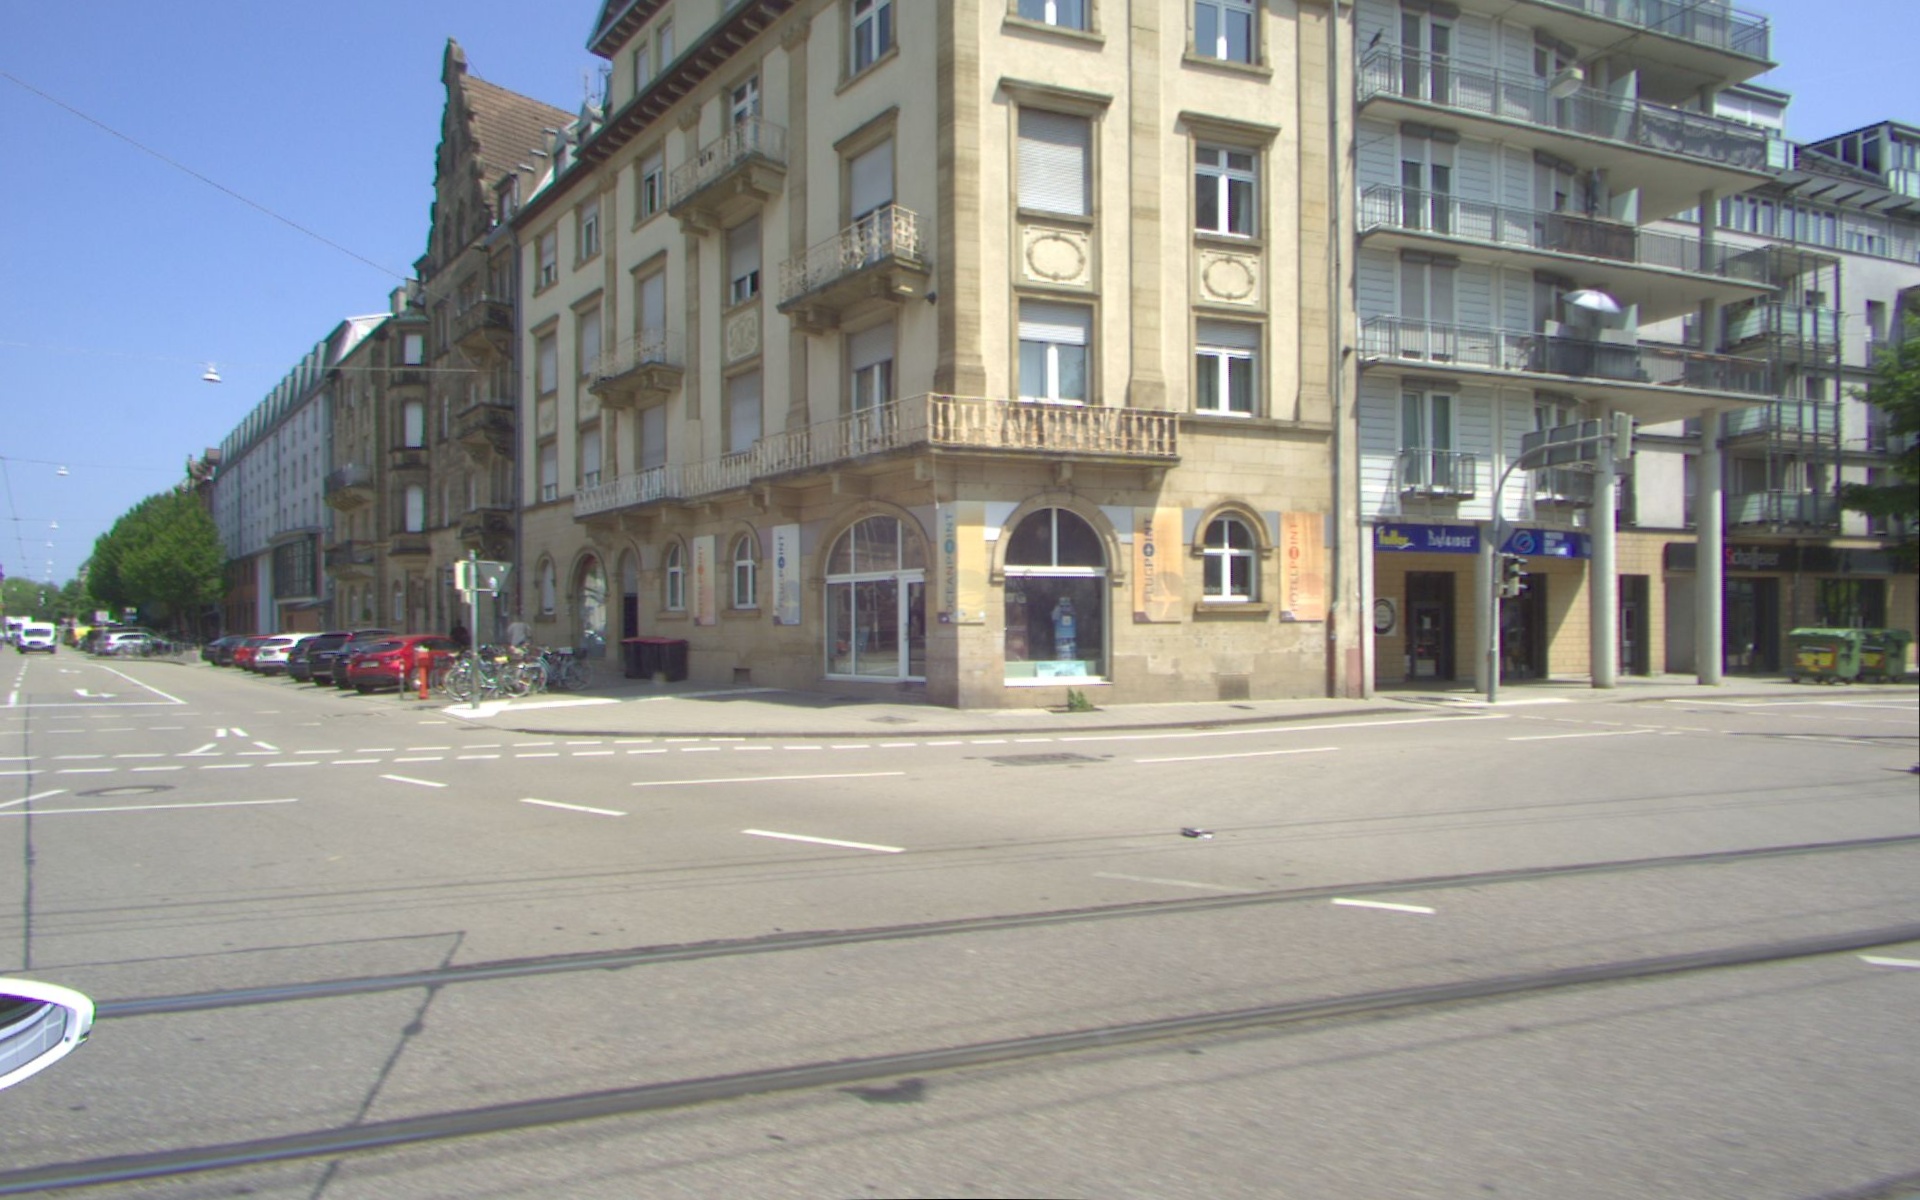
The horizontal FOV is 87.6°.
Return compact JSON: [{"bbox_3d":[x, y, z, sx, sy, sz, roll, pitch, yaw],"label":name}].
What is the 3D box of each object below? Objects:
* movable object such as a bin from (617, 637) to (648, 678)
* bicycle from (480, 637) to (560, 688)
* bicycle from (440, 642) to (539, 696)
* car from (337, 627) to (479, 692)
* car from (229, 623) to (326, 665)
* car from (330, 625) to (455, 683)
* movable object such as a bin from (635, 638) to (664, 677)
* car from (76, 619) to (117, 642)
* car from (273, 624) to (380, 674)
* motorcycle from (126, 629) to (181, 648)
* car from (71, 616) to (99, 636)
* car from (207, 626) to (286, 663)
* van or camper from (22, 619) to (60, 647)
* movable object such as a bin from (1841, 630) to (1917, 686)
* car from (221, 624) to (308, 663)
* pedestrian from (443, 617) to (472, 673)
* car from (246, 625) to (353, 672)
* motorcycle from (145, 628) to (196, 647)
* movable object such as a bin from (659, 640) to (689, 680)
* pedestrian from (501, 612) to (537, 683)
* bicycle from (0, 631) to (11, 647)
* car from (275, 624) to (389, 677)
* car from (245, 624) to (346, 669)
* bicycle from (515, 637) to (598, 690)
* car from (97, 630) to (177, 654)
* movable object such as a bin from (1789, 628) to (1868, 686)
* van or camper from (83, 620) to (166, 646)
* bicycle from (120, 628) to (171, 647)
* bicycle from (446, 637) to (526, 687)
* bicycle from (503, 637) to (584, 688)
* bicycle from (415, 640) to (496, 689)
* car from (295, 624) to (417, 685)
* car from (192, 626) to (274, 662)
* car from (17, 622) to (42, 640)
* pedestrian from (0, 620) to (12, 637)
[{"bbox_3d":[-8.875,1.546,27.119,0.662,1.078,0.586,0,-1,-35],"label":"movable object such as a bin"},{"bbox_3d":[-11.098,1.557,25.272,1.778,1.166,0.562,-1,0,-29],"label":"bicycle"},{"bbox_3d":[-10.790,1.562,22.977,2.030,1.166,0.562,0,-1,-29],"label":"bicycle"},{"bbox_3d":[-15.107,1.597,27.590,1.587,1.498,3.222,-2,0,14],"label":"car"},{"bbox_3d":[-29.370,1.870,43.190,1.587,1.596,3.223,-2,0,12],"label":"car"},{"bbox_3d":[-16.875,1.567,29.944,1.586,1.498,3.225,-3,0,8],"label":"car"},{"bbox_3d":[-8.258,1.530,26.642,0.575,1.008,0.586,0,-1,-35],"label":"movable object such as a bin"},{"bbox_3d":[-69.584,2.464,80.652,3.953,1.773,1.945,-1,0,41],"label":"car"},{"bbox_3d":[-23.397,1.775,37.086,1.586,1.596,3.225,-3,0,8],"label":"car"},{"bbox_3d":[-51.508,2.434,63.978,2.689,1.190,0.768,0,-1,-41],"label":"motorcycle"},{"bbox_3d":[-97.233,2.893,111.306,1.889,2.040,3.972,-1,-1,-36],"label":"car"},{"bbox_3d":[-34.014,2.087,47.834,1.467,1.596,3.226,-3,0,-3],"label":"car"},{"bbox_3d":[-73.171,2.613,79.709,4.532,2.169,2.024,-1,-1,44],"label":"van or camper"},{"bbox_3d":[24.592,1.537,26.819,0.992,1.454,1.211,0,-1,-25],"label":"movable object such as a bin"},{"bbox_3d":[-32.066,1.988,46.252,1.585,1.596,3.226,-3,0,3],"label":"car"},{"bbox_3d":[-18.570,1.652,36.998,0.855,2.040,1.095,0,-1,-33],"label":"pedestrian"},{"bbox_3d":[-25.655,1.853,39.010,1.586,1.596,3.224,-2,0,11],"label":"car"},{"bbox_3d":[-51.378,2.433,65.159,2.570,1.190,0.677,0,-1,-41],"label":"motorcycle"},{"bbox_3d":[-7.407,1.542,25.911,0.575,1.008,0.586,0,-1,-35],"label":"movable object such as a bin"},{"bbox_3d":[-13.682,1.465,31.035,0.855,2.141,1.095,0,-1,-33],"label":"pedestrian"},{"bbox_3d":[-80.986,3.306,84.921,0.668,1.377,2.048,0,0,-45],"label":"bicycle"},{"bbox_3d":[-21.535,1.697,34.478,1.586,1.596,3.225,-3,0,8],"label":"car"},{"bbox_3d":[-27.211,1.877,41.118,1.587,1.596,3.223,-2,0,12],"label":"car"},{"bbox_3d":[-9.736,1.514,24.195,1.778,1.166,0.562,-1,0,-29],"label":"bicycle"},{"bbox_3d":[-57.232,2.924,69.692,1.721,1.569,3.989,-1,-1,24],"label":"car"},{"bbox_3d":[22.671,1.477,26.166,0.990,1.454,1.213,0,-1,-16],"label":"movable object such as a bin"},{"bbox_3d":[-61.721,2.419,74.050,1.965,1.862,4.317,0,-1,21],"label":"van or camper"},{"bbox_3d":[-54.298,2.501,66.769,0.671,1.190,2.591,-1,-1,25],"label":"bicycle"},{"bbox_3d":[-12.114,1.576,25.610,1.778,1.166,0.562,-1,0,-29],"label":"bicycle"},{"bbox_3d":[-10.331,1.539,24.858,1.778,1.166,0.562,-1,0,-29],"label":"bicycle"},{"bbox_3d":[-13.165,1.669,26.158,0.559,1.166,1.790,-1,0,42],"label":"bicycle"},{"bbox_3d":[-19.144,1.691,31.906,1.586,1.687,3.225,-3,0,8],"label":"car"},{"bbox_3d":[-36.152,2.166,49.884,1.585,1.596,3.226,-3,0,2],"label":"car"},{"bbox_3d":[-109.471,3.639,117.841,1.979,2.039,3.966,0,-1,-41],"label":"car"},{"bbox_3d":[-81.012,2.441,84.986,0.790,1.439,0.726,0,0,45],"label":"pedestrian"}]
